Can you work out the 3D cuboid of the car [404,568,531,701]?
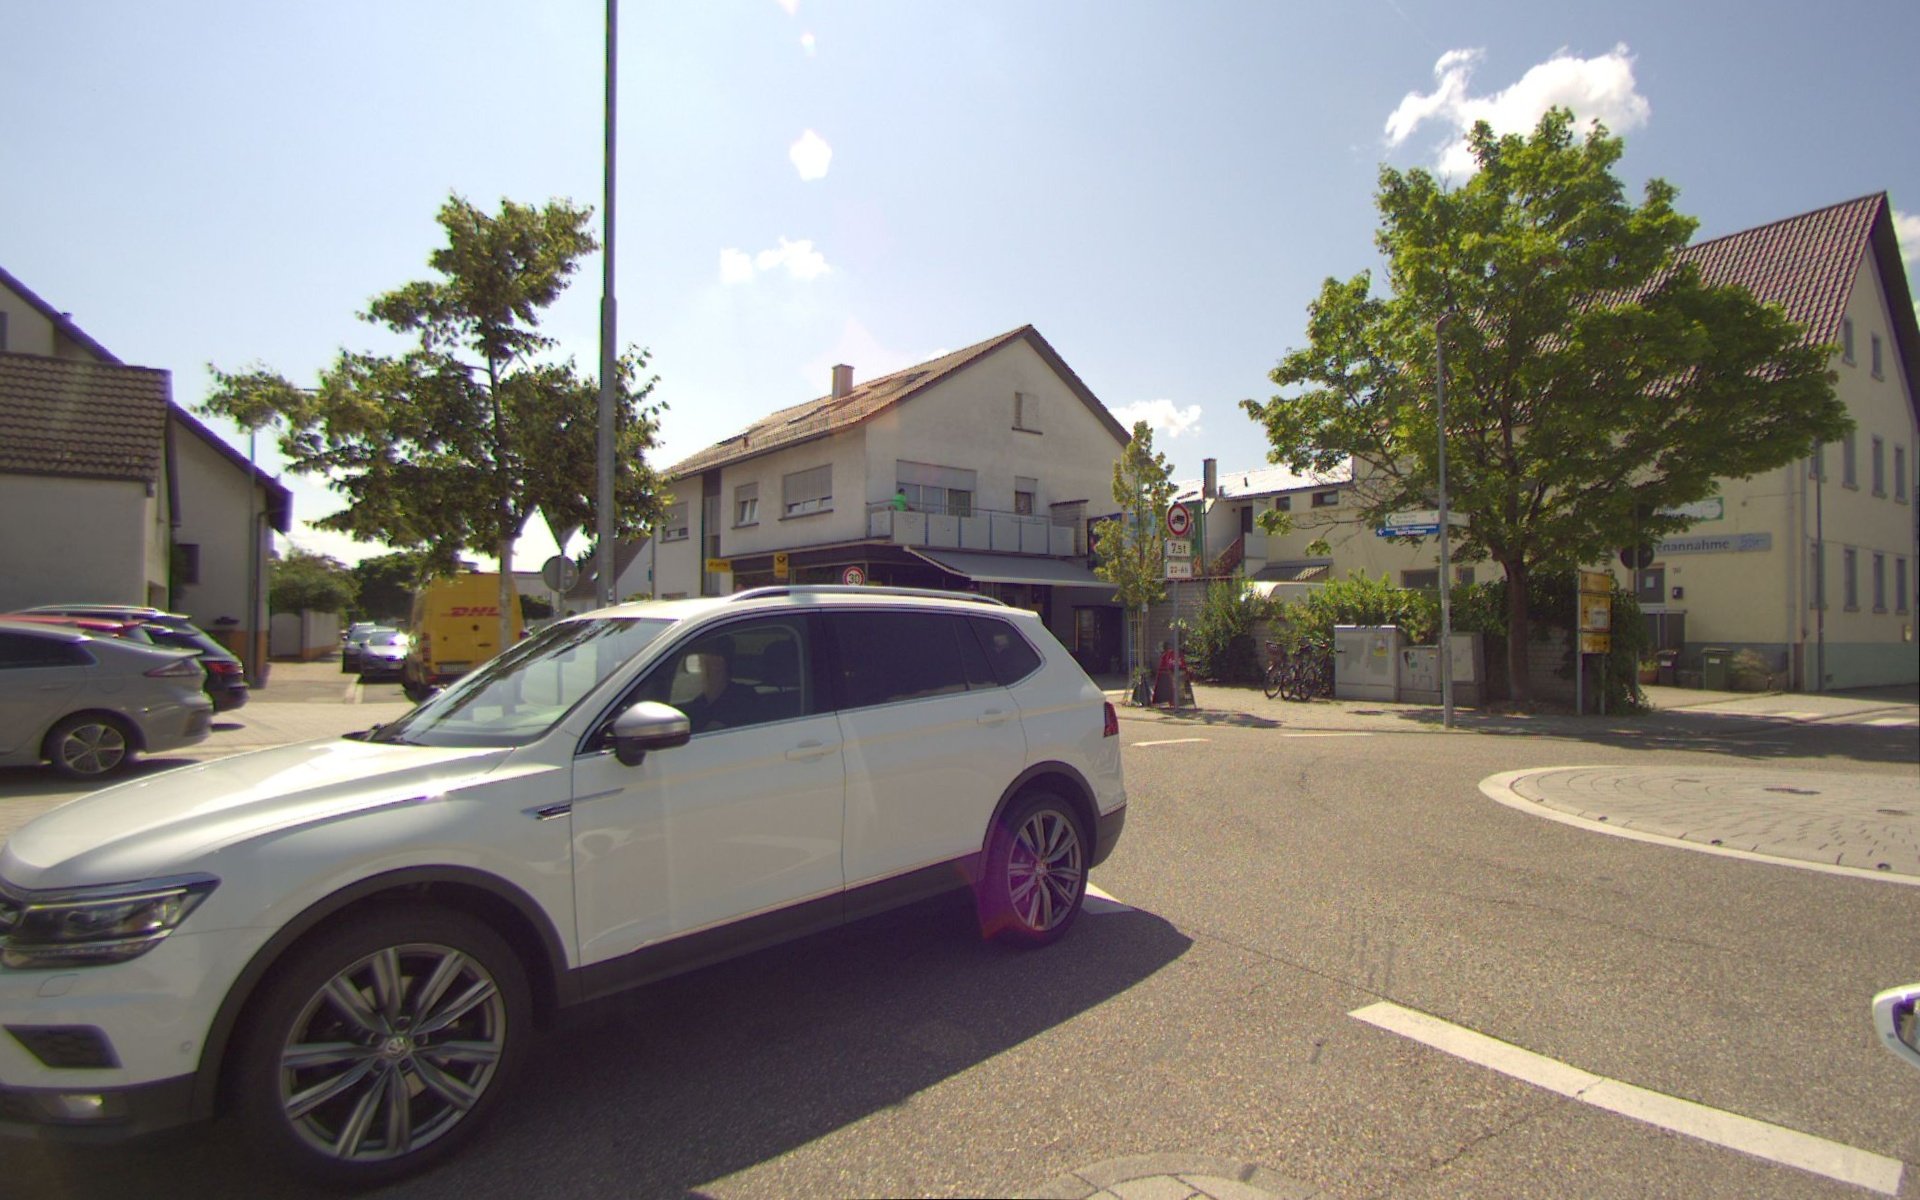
[{"bbox_3d":[-11.269,0.767,22.732,2.089,2.607,5.637,0,-2,-31],"label":"car"}]

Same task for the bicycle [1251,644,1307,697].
[{"bbox_3d":[6.903,1.499,21.670,0.395,1.017,1.972,-1,0,41],"label":"bicycle"}]

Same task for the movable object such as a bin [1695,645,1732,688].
[{"bbox_3d":[19.419,1.704,25.884,0.651,1.093,0.596,1,-2,-34],"label":"movable object such as a bin"}]

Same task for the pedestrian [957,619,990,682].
[{"bbox_3d":[0.365,1.305,26.299,0.735,1.610,0.881,-1,0,9],"label":"pedestrian"}]

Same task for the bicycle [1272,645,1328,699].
[{"bbox_3d":[7.246,1.509,21.385,0.395,1.017,1.972,-1,0,41],"label":"bicycle"}]

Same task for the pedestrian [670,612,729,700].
[{"bbox_3d":[-5.723,1.201,22.085,1.014,1.850,0.775,-1,0,-38],"label":"pedestrian"}]

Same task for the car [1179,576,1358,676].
[{"bbox_3d":[8.905,0.732,28.751,5.593,2.601,1.923,1,0,-36],"label":"car"}]

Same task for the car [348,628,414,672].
[{"bbox_3d":[-19.045,1.602,33.072,1.765,1.261,3.941,1,0,-30],"label":"car"}]

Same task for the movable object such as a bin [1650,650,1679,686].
[{"bbox_3d":[18.674,1.795,26.620,0.541,0.940,0.476,1,-2,-34],"label":"movable object such as a bin"}]

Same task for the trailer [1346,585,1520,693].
[{"bbox_3d":[11.424,0.900,24.171,4.480,2.366,1.866,1,0,-36],"label":"trailer"}]

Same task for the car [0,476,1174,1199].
[{"bbox_3d":[-1.100,0.718,4.393,1.847,1.732,4.516,-6,-5,43],"label":"car"}]

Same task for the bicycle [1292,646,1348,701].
[{"bbox_3d":[7.572,1.518,21.075,0.395,1.017,1.972,-1,0,41],"label":"bicycle"}]

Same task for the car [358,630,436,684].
[{"bbox_3d":[-15.728,1.539,28.055,1.765,1.261,3.941,1,0,-30],"label":"car"}]

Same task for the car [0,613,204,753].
[{"bbox_3d":[-11.039,0.899,11.359,3.928,1.496,1.734,2,-2,-38],"label":"car"}]

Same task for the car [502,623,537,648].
[{"bbox_3d":[-27.869,2.209,63.552,1.855,1.369,4.388,2,0,-26],"label":"car"}]

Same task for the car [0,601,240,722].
[{"bbox_3d":[-14.238,0.930,15.767,4.706,1.762,1.966,2,-2,-38],"label":"car"}]

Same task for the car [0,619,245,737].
[{"bbox_3d":[-12.308,0.992,13.406,4.438,1.470,1.816,2,-2,-38],"label":"car"}]

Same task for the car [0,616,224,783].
[{"bbox_3d":[-9.497,0.867,9.165,4.438,1.470,1.816,2,-2,-38],"label":"car"}]
